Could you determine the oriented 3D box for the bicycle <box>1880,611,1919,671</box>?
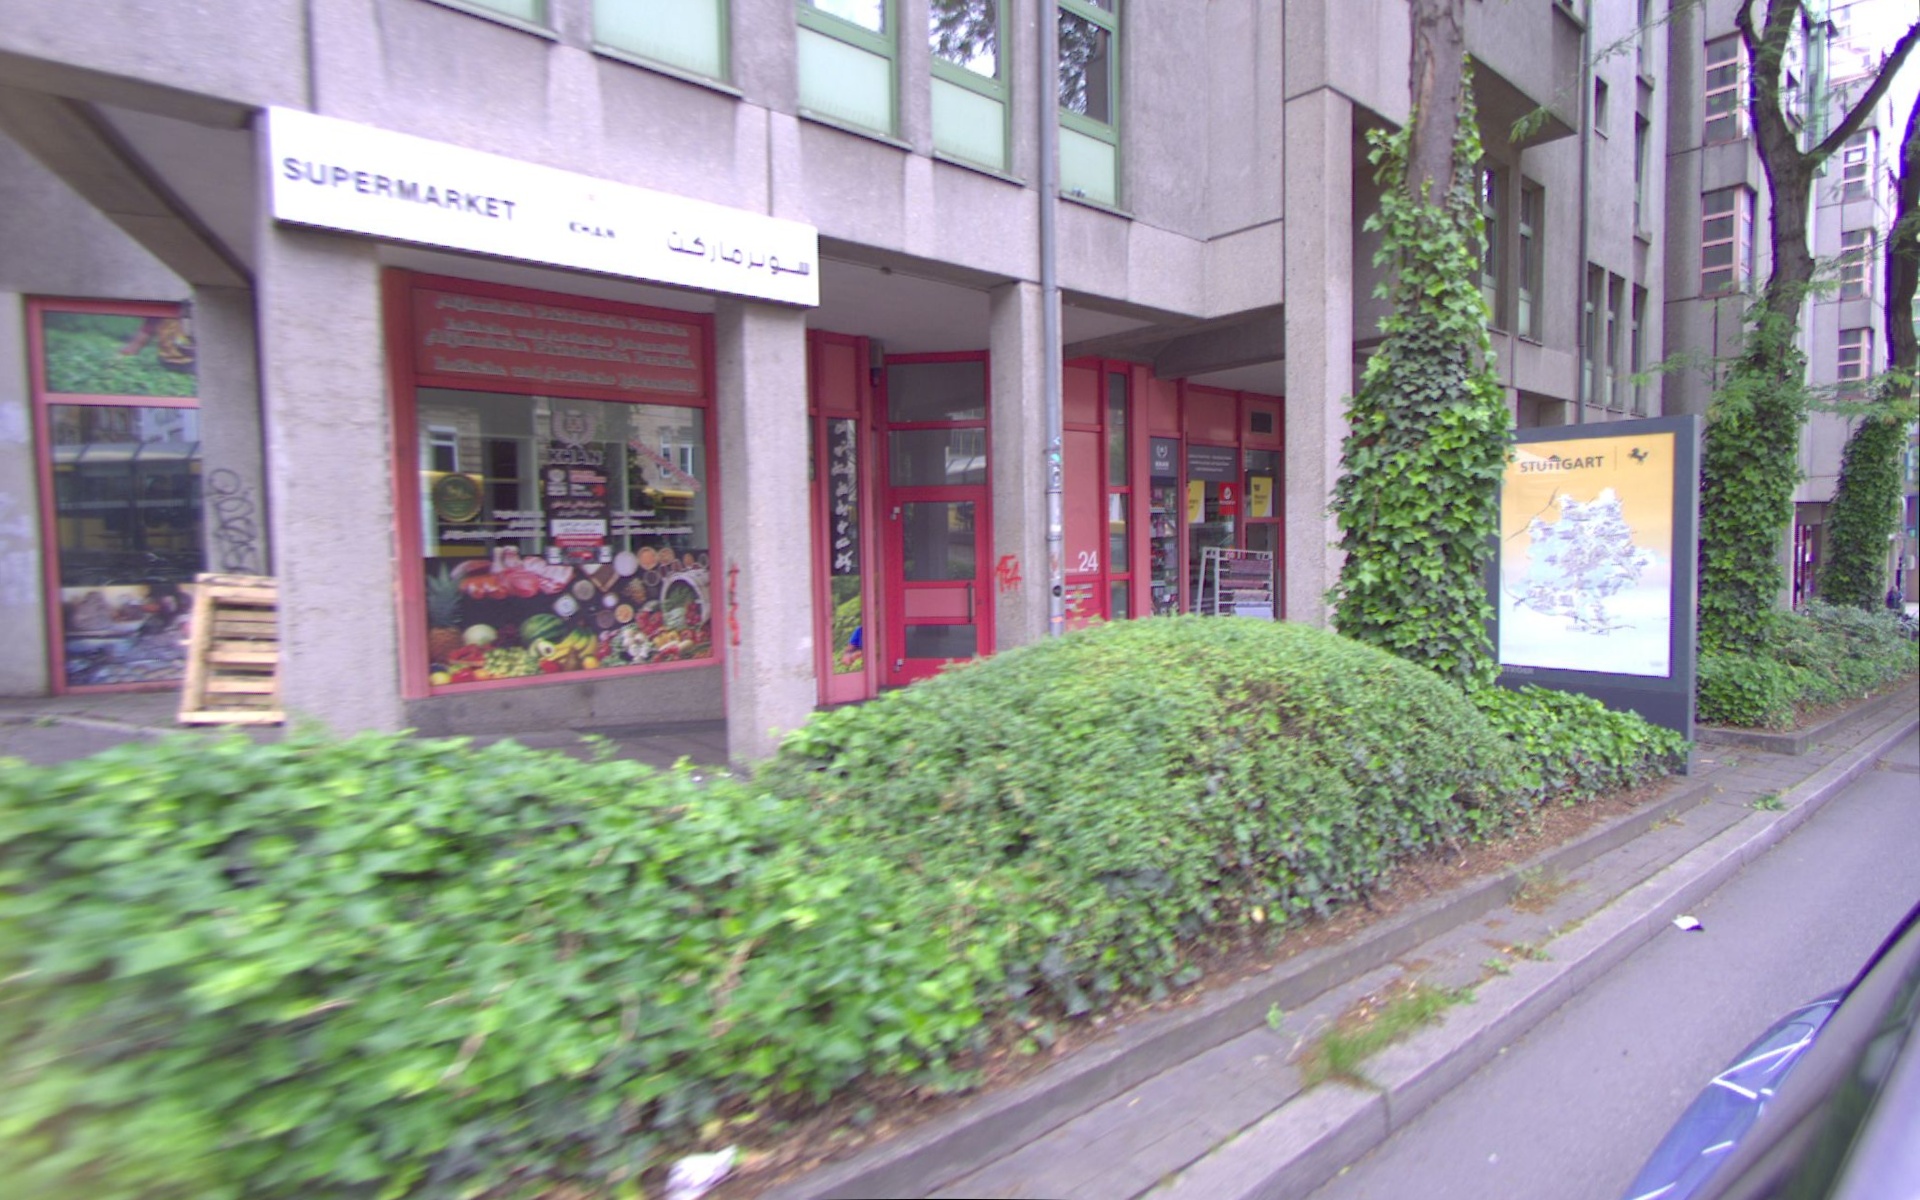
[{"bbox_3d":[18.397,0.755,18.660,2.086,1.099,0.702,-1,-1,42],"label":"bicycle"}]
